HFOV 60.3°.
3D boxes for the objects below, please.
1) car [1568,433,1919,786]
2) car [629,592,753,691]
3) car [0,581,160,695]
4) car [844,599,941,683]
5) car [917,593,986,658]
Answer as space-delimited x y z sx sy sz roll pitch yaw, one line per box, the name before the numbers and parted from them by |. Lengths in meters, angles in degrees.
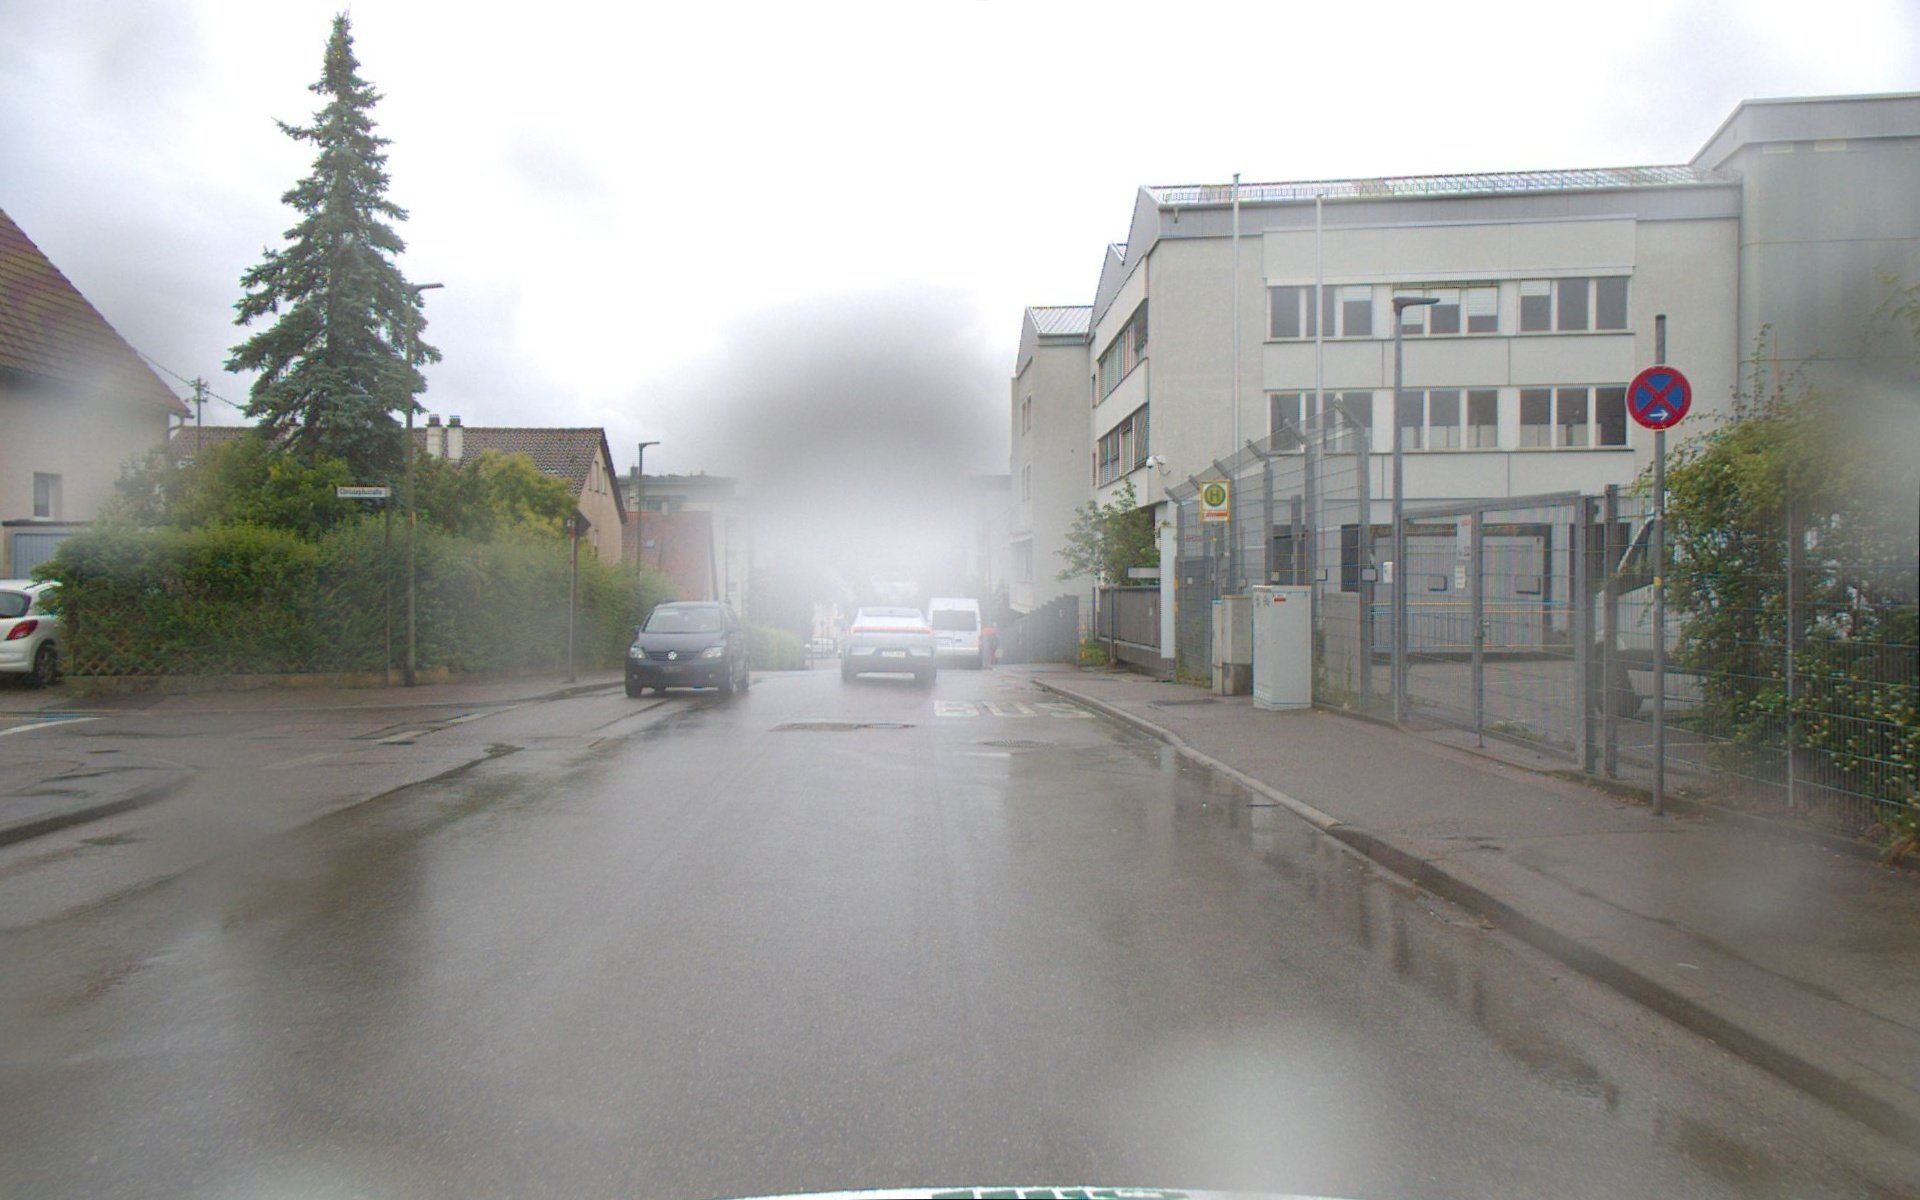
car | 8.030 -0.009 15.137 1.957 2.731 5.941 -2 2 -9
car | -4.538 0.656 28.368 1.642 1.554 3.998 0 0 -3
car | -14.118 0.518 25.433 1.758 1.534 3.999 0 2 -2
car | -1.447 0.819 35.760 1.953 1.528 4.669 0 2 -2
car | -0.327 0.880 55.646 1.955 2.049 3.995 -1 -2 -5
